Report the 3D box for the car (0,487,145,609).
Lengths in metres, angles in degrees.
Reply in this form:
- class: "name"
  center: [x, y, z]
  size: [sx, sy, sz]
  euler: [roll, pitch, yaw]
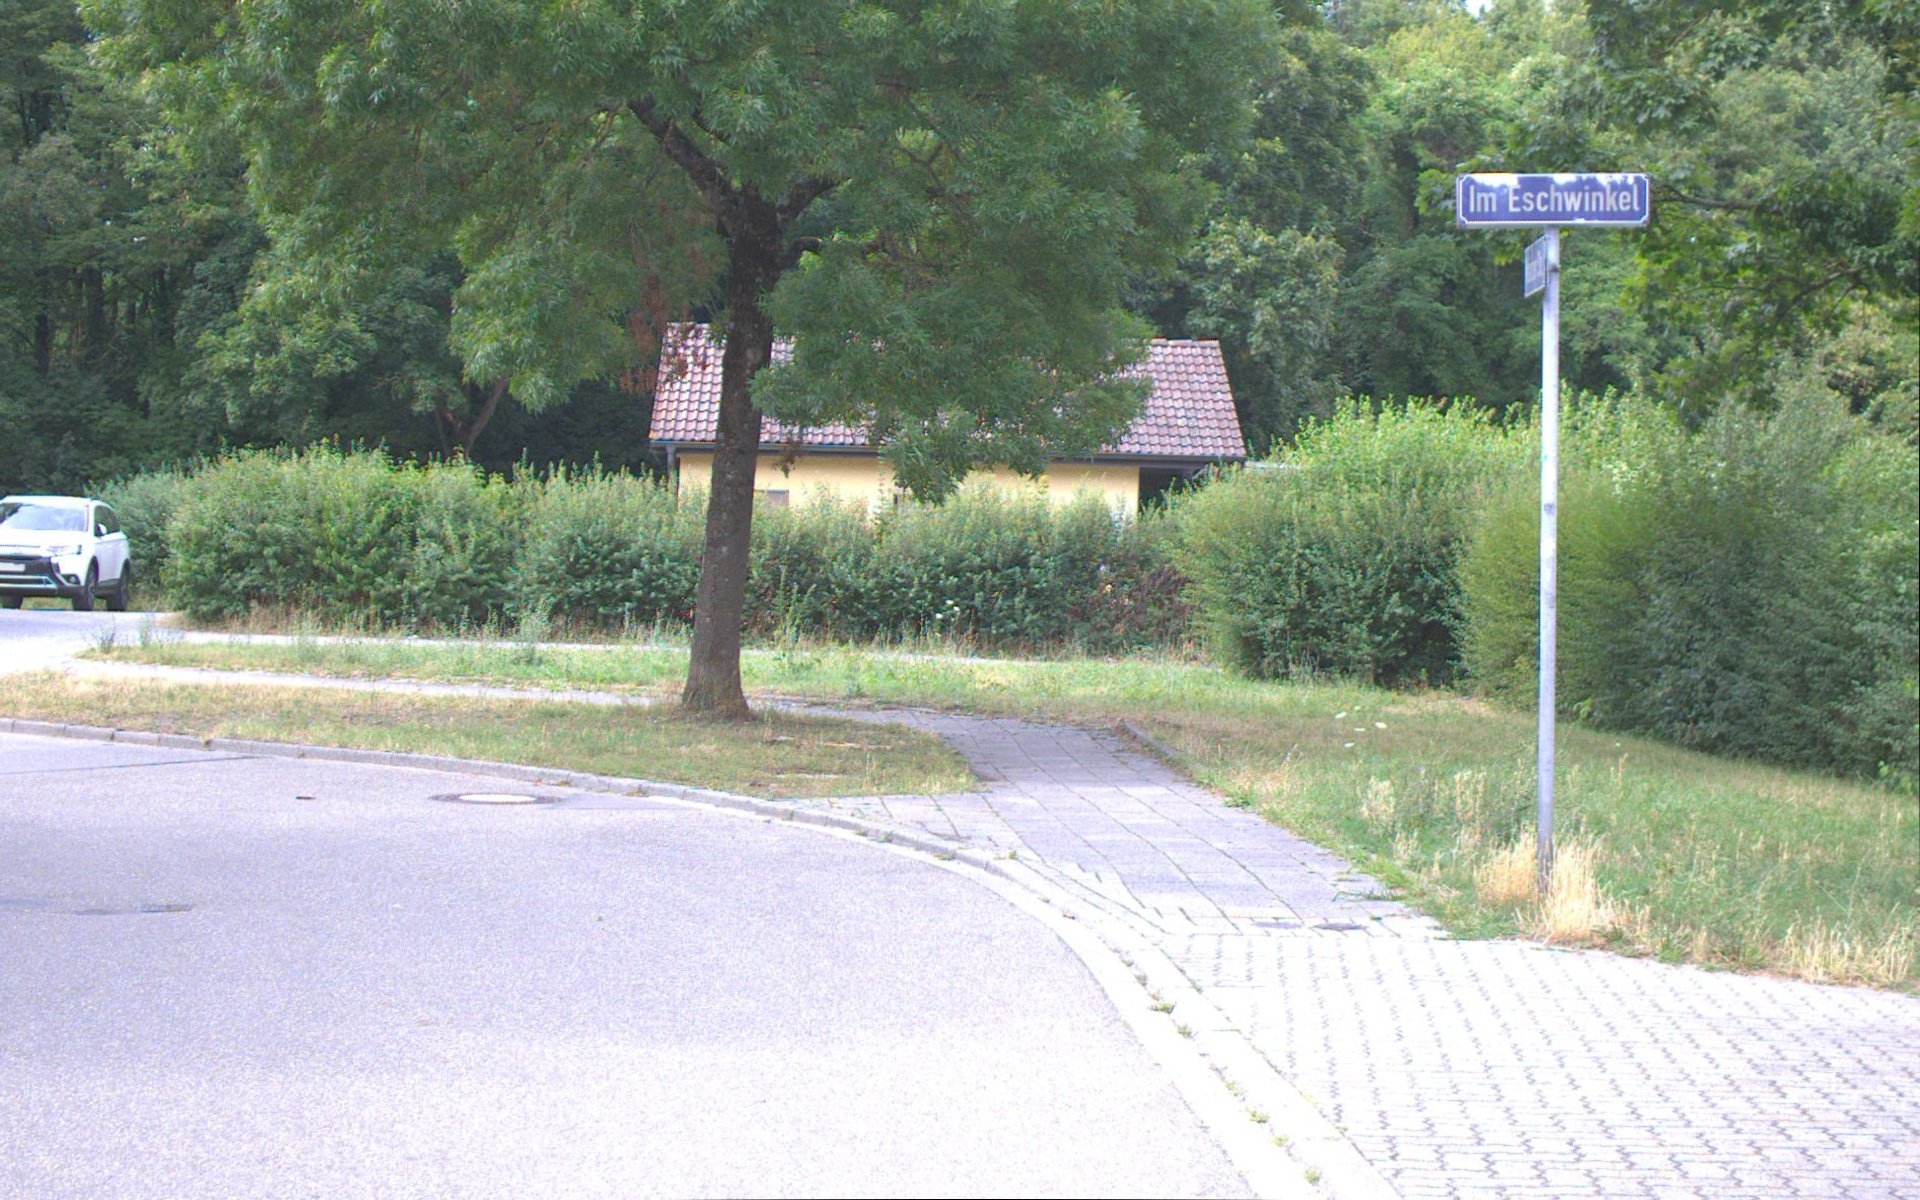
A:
- class: "car"
  center: [-13.118, -0.763, 49.368]
  size: [1.937, 1.654, 4.341]
  euler: [1, 1, -3]
